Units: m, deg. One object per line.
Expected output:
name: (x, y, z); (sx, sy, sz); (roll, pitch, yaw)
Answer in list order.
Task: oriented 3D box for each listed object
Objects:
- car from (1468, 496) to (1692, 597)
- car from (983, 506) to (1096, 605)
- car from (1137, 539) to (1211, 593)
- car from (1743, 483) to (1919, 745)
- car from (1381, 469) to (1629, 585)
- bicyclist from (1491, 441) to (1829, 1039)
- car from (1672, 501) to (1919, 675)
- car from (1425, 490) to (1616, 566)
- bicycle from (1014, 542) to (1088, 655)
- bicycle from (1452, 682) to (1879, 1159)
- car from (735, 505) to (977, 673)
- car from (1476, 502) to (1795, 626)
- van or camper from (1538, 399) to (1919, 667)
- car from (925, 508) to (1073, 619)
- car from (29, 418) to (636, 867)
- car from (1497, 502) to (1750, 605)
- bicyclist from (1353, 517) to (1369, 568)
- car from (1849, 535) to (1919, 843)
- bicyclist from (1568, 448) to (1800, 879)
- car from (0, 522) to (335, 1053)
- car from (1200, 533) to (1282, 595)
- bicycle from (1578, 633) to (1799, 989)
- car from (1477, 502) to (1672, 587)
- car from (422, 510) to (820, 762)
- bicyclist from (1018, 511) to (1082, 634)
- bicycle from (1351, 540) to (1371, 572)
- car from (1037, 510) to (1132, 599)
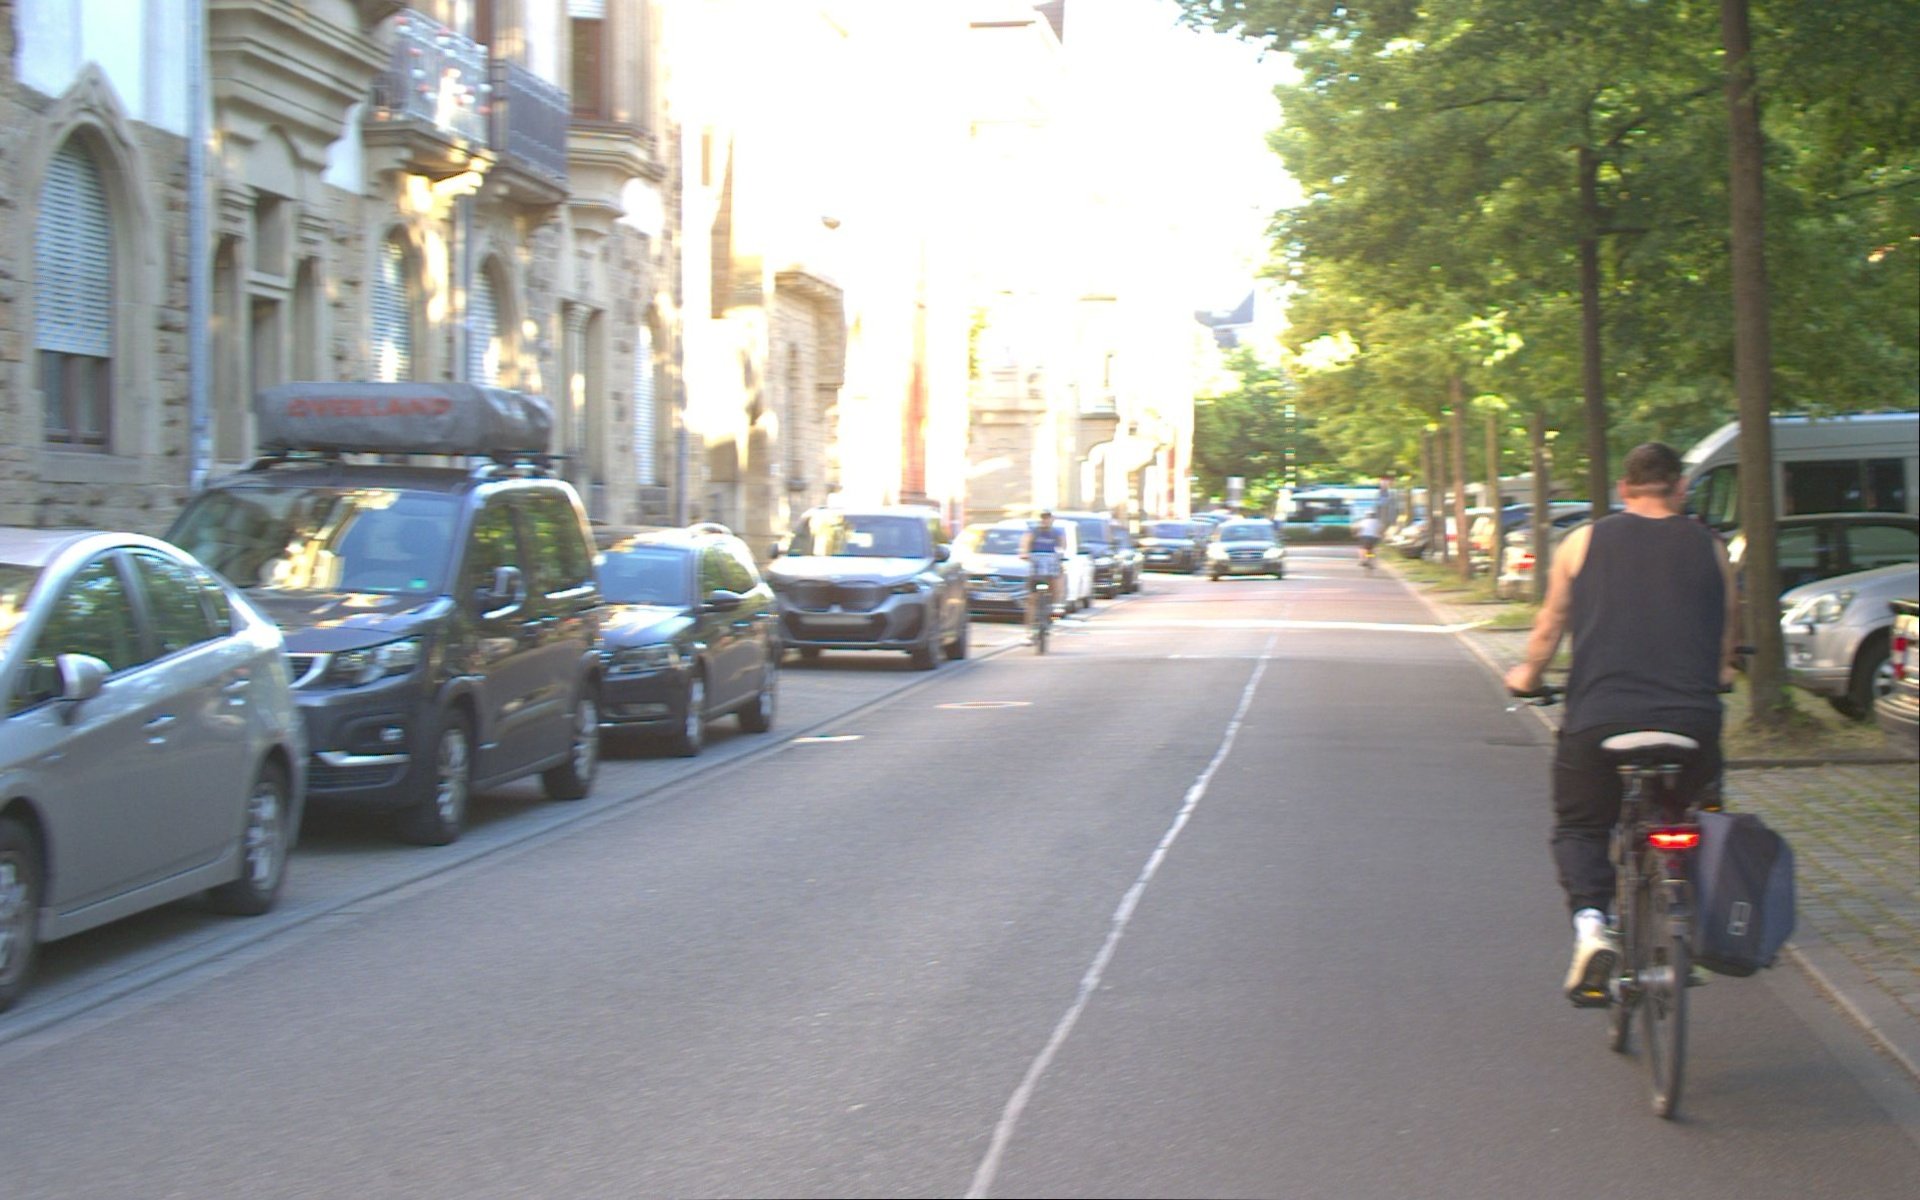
car: (12.282, -1.054, 68.366); (4.244, 1.833, 1.854); (-2, 0, 8)
car: (1.345, -0.758, 57.173); (1.491, 1.512, 3.774); (3, 1, 6)
car: (6.095, -0.971, 97.579); (1.994, 1.481, 3.999); (0, 1, 5)
car: (7.864, -0.022, 23.743); (4.476, 1.664, 1.942); (-3, 2, 5)
car: (16.671, -2.211, 105.414); (7.335, 3.271, 2.222); (-2, 0, 8)
bicyclist: (1.861, 0.353, 9.255); (0.706, 1.521, 0.972); (0, 0, 0)
car: (8.292, -0.134, 30.863); (3.501, 1.467, 1.751); (-2, 0, 6)
car: (14.464, -1.844, 88.863); (4.758, 1.773, 1.854); (-2, 0, 8)
bicycle: (1.055, -0.042, 39.420); (0.753, 1.174, 2.620); (-2, 2, 3)
bicycle: (1.831, 0.791, 9.214); (0.696, 1.069, 1.969); (-1, 1, -1)
car: (-1.004, -0.125, 35.625); (2.050, 1.616, 4.395); (0, 1, 4)
car: (9.631, -0.513, 49.265); (4.243, 1.600, 1.753); (-2, 0, 4)
van or camper: (9.006, -0.733, 35.862); (5.575, 2.528, 2.268); (-3, 0, 5)
car: (0.626, -0.568, 51.583); (1.755, 1.512, 4.114); (3, 1, 6)
car: (-3.008, 0.109, 17.501); (1.969, 1.967, 4.498); (1, 2, 4)
car: (11.721, -0.820, 60.975); (4.244, 1.641, 1.854); (-2, 0, 8)
bicyclist: (10.791, -1.544, 92.572); (0.417, 1.346, 0.430); (0, 0, 6)
car: (6.933, 0.302, 16.395); (4.894, 1.437, 1.942); (-3, 0, 5)
bicyclist: (2.646, 0.221, 12.650); (0.718, 1.521, 0.972); (0, 0, 6)
car: (-3.539, 0.511, 11.674); (1.729, 1.493, 4.455); (1, 2, 4)
car: (6.925, -0.892, 85.012); (1.897, 1.481, 4.381); (0, 1, 3)
bicycle: (2.595, 0.713, 12.396); (0.555, 1.069, 1.969); (0, 3, 5)
car: (14.042, -1.261, 78.729); (4.244, 1.791, 1.854); (-2, 0, 8)
car: (-2.227, 0.204, 23.898); (1.730, 1.569, 4.707); (0, 1, 7)
bicyclist: (1.033, -0.322, 39.126); (0.665, 1.340, 1.060); (-2, 2, 3)
bicycle: (10.814, -1.185, 92.729); (0.541, 0.825, 1.918); (0, 1, 6)
car: (2.449, -0.882, 66.869); (1.631, 1.659, 3.968); (0, 1, 5)
